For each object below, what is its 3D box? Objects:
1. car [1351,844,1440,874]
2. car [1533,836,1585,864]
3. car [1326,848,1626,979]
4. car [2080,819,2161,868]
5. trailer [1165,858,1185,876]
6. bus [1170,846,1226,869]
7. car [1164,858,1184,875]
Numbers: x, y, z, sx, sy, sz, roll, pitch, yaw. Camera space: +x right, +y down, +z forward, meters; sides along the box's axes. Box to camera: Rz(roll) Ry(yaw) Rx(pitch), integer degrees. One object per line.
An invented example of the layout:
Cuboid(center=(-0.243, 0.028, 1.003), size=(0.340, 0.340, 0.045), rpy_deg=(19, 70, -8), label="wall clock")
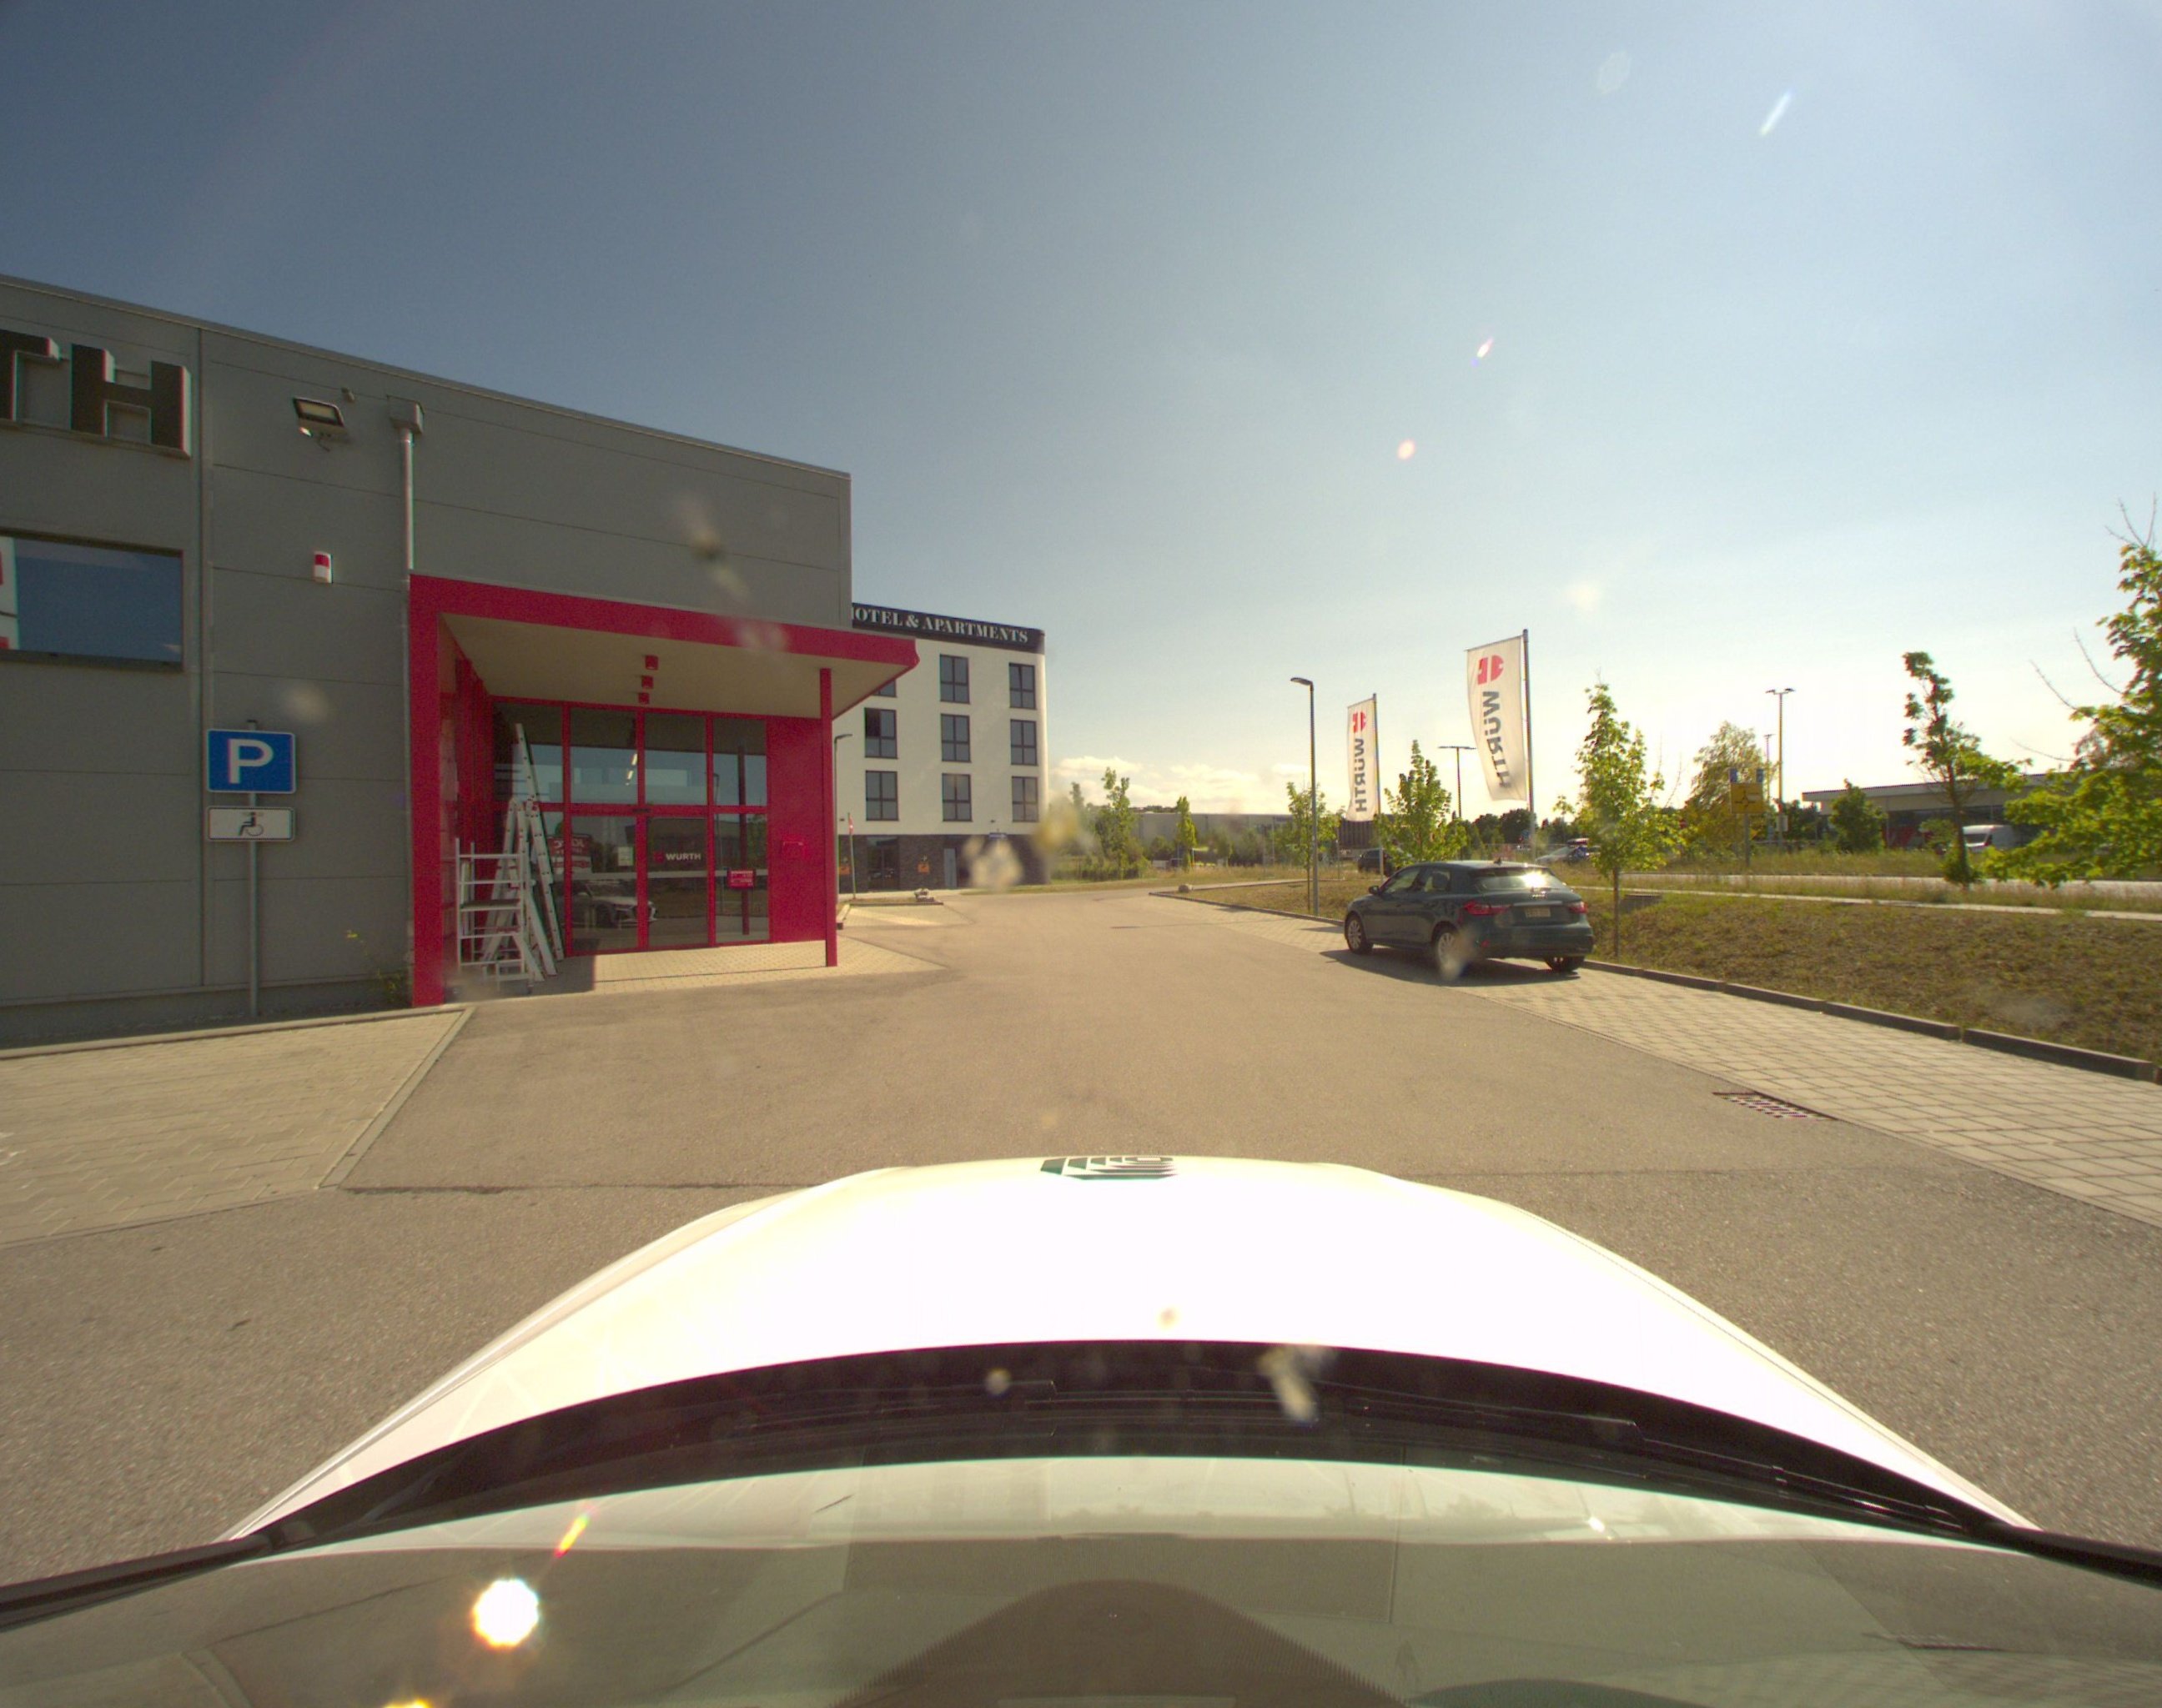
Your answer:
Cuboid(center=(17.104, 0.299, 44.596), size=(1.947, 1.551, 4.729), rpy_deg=(-1, 0, -19), label="car")
Cuboid(center=(28.094, -0.227, 47.812), size=(1.974, 1.517, 4.223), rpy_deg=(-1, -1, 39), label="car")
Cuboid(center=(5.226, 0.689, 11.518), size=(1.838, 1.449, 4.217), rpy_deg=(-1, 0, -6), label="car")
Cuboid(center=(46.549, -0.473, 35.248), size=(5.216, 2.014, 2.079), rpy_deg=(-1, -1, -13), label="car")
Cuboid(center=(9.918, 1.329, 86.021), size=(1.815, 1.860, 4.002), rpy_deg=(-1, 0, 2), label="trailer")
Cuboid(center=(15.652, 0.403, 107.593), size=(2.547, 2.735, 11.643), rpy_deg=(-2, 0, 33), label="bus")
Cuboid(center=(10.239, 1.354, 89.992), size=(1.815, 1.860, 4.002), rpy_deg=(-1, 0, 2), label="car")
